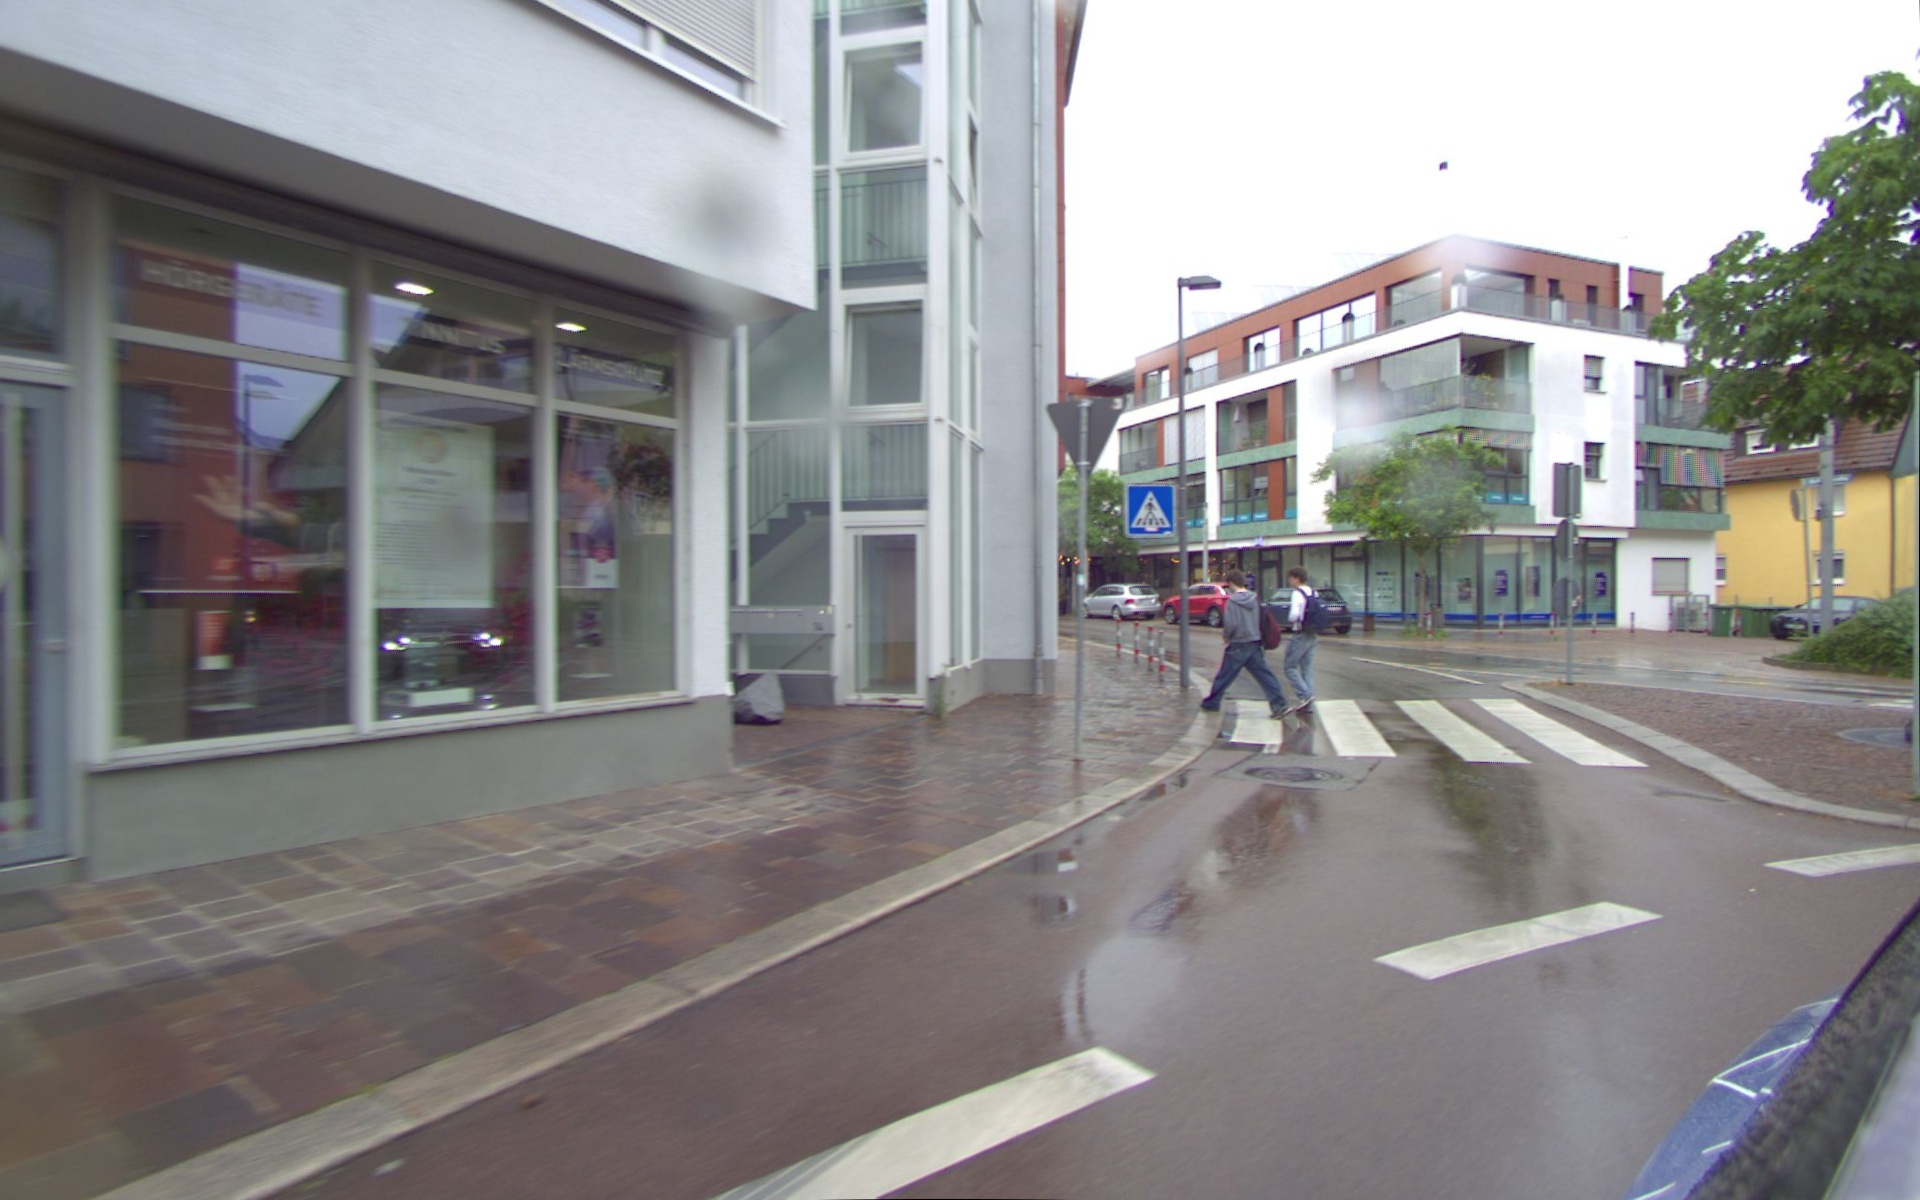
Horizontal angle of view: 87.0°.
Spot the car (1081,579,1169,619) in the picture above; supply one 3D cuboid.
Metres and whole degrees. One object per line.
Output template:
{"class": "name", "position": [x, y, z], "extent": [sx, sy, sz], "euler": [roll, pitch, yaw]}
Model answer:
{"class": "car", "position": [6.670, -0.089, 41.280], "extent": [1.588, 1.430, 4.008], "euler": [-4, 3, -23]}

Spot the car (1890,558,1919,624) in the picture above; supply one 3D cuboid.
{"class": "car", "position": [20.297, -0.184, 18.559], "extent": [1.733, 1.292, 4.475], "euler": [-1, 1, -31]}

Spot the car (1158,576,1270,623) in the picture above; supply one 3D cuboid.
{"class": "car", "position": [9.000, -0.048, 36.187], "extent": [1.597, 1.519, 4.006], "euler": [-4, 2, -27]}

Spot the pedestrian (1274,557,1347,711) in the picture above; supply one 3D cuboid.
{"class": "pedestrian", "position": [4.334, 0.398, 12.588], "extent": [0.654, 1.829, 1.058], "euler": [-1, 0, 9]}

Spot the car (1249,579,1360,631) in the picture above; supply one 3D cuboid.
{"class": "car", "position": [10.656, 0.112, 31.545], "extent": [1.509, 1.378, 3.382], "euler": [-2, 3, -20]}

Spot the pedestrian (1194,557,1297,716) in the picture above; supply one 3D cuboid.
{"class": "pedestrian", "position": [3.434, 0.410, 12.244], "extent": [0.680, 1.823, 1.060], "euler": [-1, 0, -22]}

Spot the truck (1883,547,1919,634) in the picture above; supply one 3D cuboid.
{"class": "truck", "position": [21.819, -0.215, 20.717], "extent": [1.733, 1.831, 4.003], "euler": [-1, 1, -31]}
